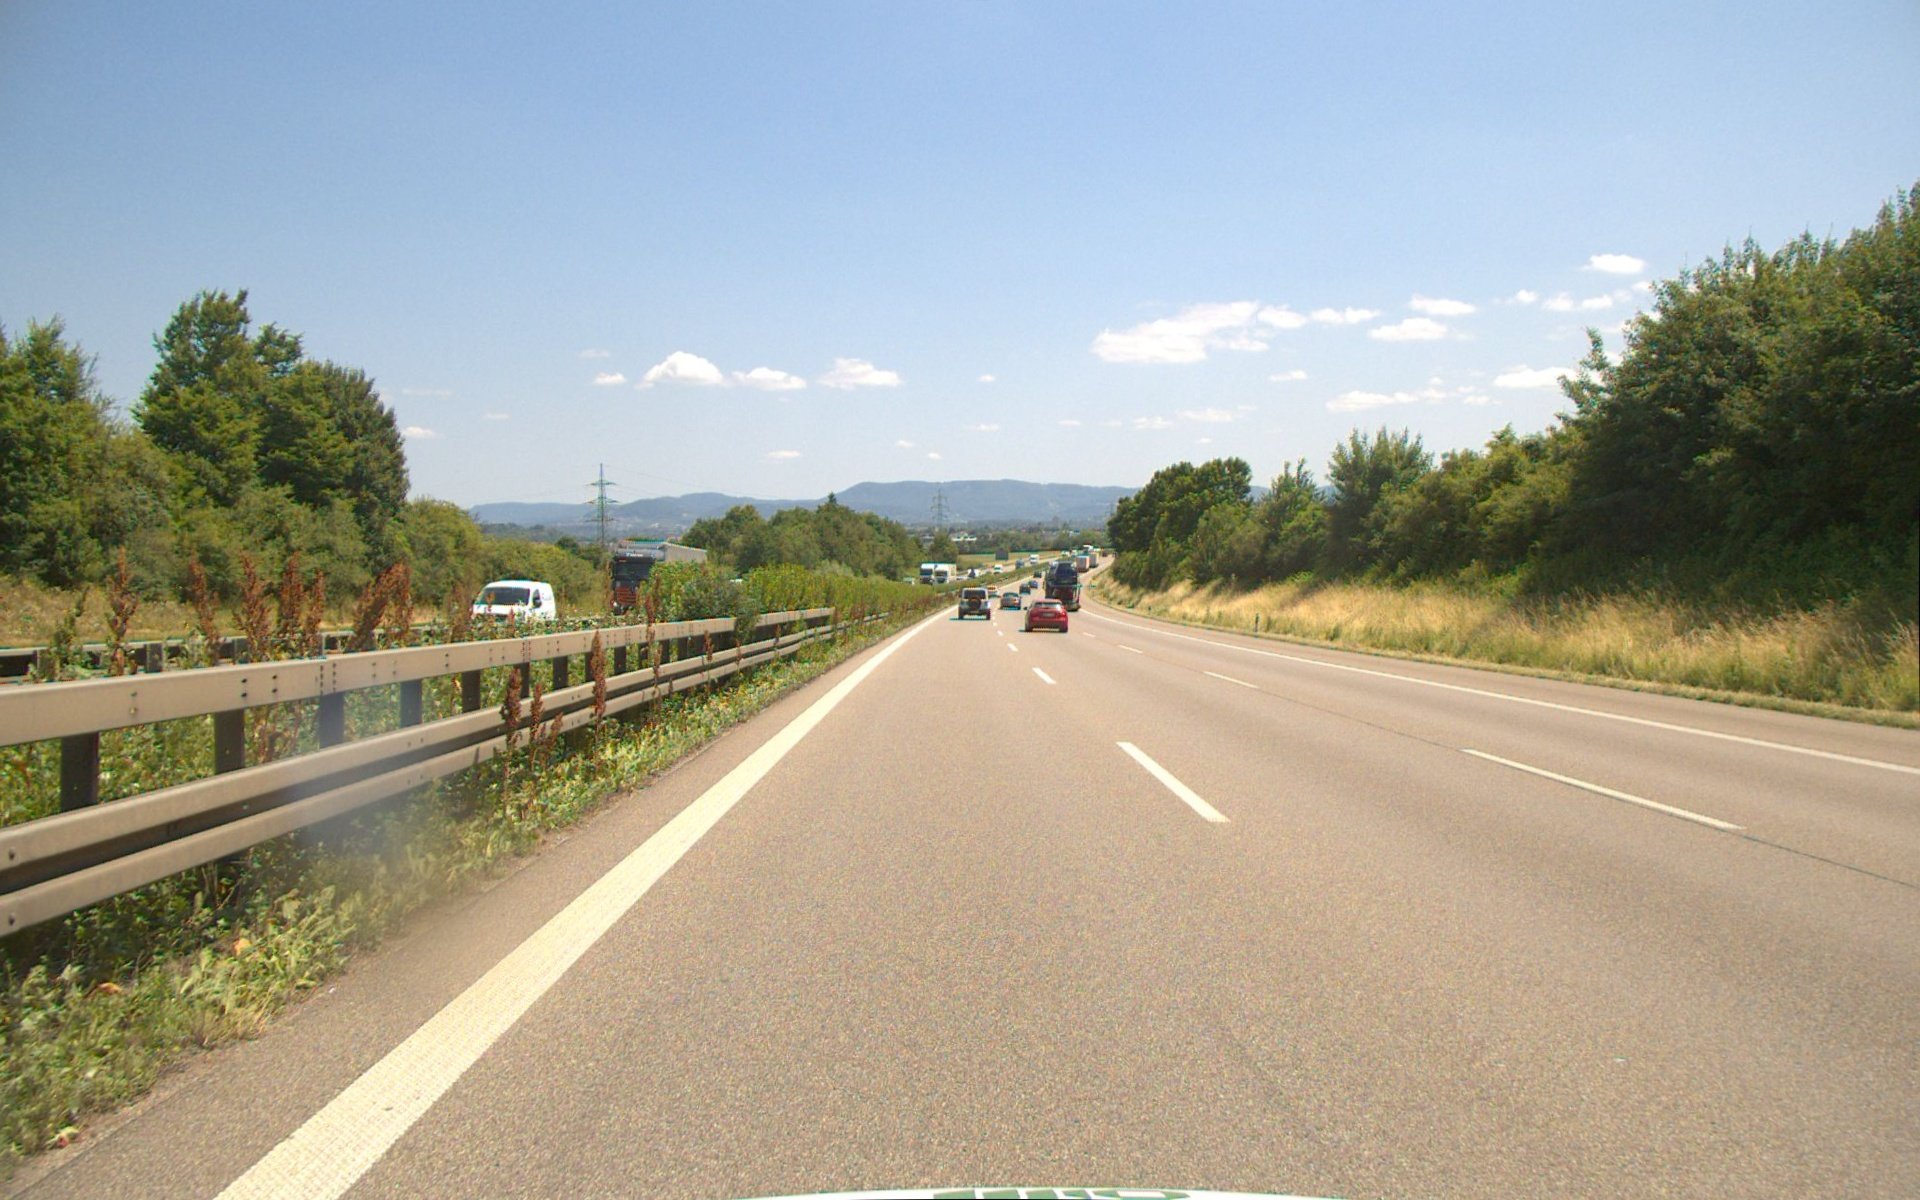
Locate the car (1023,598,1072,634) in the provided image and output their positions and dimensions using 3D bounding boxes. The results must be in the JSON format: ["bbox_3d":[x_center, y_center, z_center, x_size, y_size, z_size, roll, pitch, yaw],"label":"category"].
[{"bbox_3d":[3.815,0.686,72.650,1.653,1.403,3.946,1,1,-4],"label":"car"}]

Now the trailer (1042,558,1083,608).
[{"bbox_3d":[8.725,-1.585,142.177,2.796,4.062,15.400,1,1,1],"label":"trailer"}]

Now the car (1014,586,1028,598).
[{"bbox_3d":[8.663,-1.155,235.248,1.601,1.734,3.404,1,1,8],"label":"car"}]

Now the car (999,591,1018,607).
[{"bbox_3d":[4.124,-0.110,140.592,1.423,1.289,3.539,1,1,-1],"label":"car"}]

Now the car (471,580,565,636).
[{"bbox_3d":[-12.921,0.243,48.613,1.469,1.540,4.868,1,0,-1],"label":"car"}]

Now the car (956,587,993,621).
[{"bbox_3d":[0.841,0.221,98.844,2.041,1.861,4.753,1,1,-1],"label":"car"}]

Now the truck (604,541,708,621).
[{"bbox_3d":[-16.961,-1.053,93.712,2.914,4.084,16.825,1,0,-1],"label":"truck"}]

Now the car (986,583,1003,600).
[{"bbox_3d":[4.291,-1.071,206.645,1.662,2.048,3.825,1,1,8],"label":"car"}]
